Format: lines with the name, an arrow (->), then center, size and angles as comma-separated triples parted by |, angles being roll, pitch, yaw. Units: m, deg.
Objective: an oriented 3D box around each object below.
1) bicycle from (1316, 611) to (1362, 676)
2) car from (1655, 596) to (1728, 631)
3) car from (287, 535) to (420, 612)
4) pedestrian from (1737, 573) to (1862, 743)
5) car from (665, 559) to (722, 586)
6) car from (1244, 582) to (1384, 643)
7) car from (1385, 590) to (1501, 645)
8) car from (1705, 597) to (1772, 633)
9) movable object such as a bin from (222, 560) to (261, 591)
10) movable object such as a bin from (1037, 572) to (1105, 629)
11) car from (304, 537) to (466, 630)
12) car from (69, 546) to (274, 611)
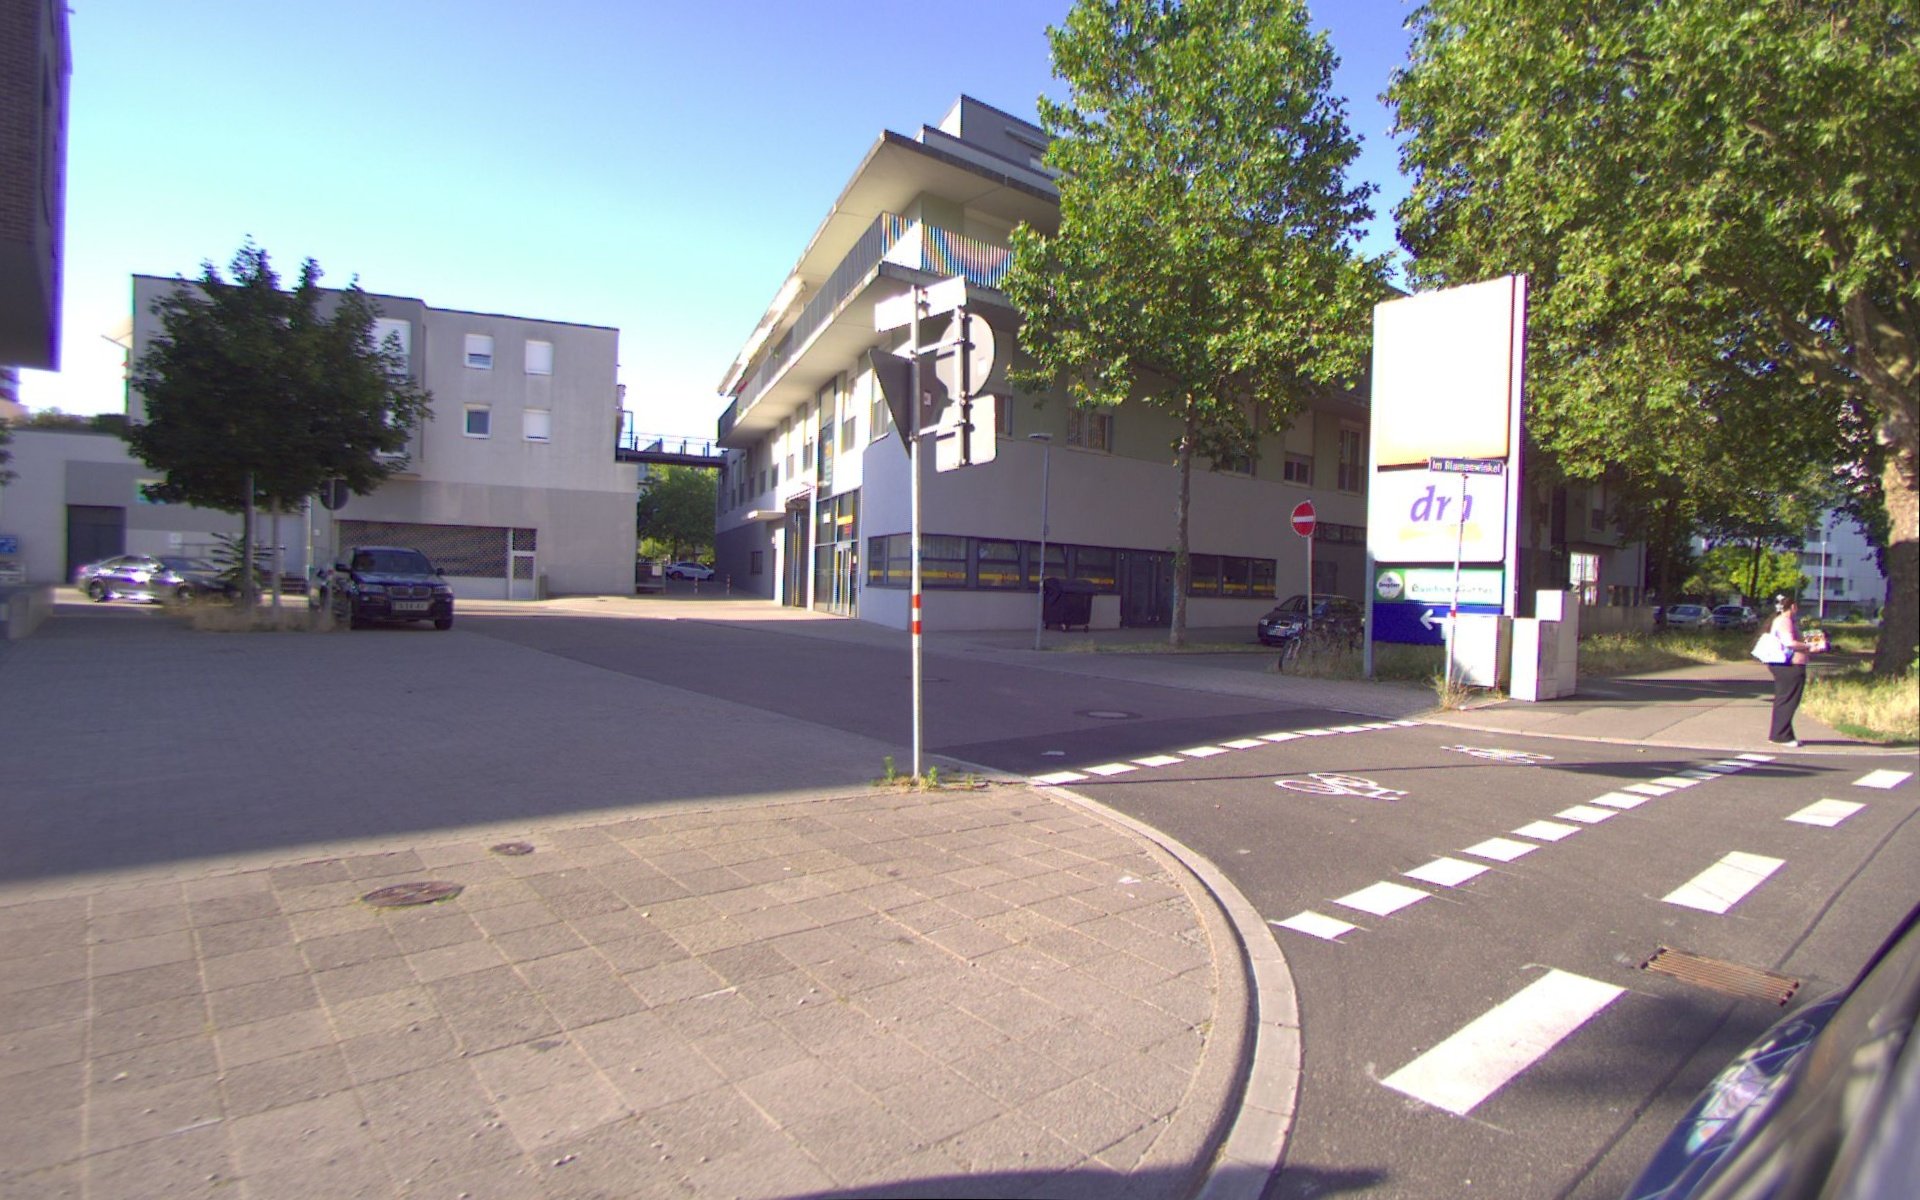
bicycle -> 6.415, 0.711, 17.084 | 0.381, 1.016, 1.468 | 3, 1, 33
car -> 35.983, 0.657, 49.749 | 4.242, 1.562, 1.863 | 1, 1, -40
car -> -15.252, -0.694, 25.353 | 1.995, 1.683, 4.491 | 2, 2, -42
pedestrian -> 9.343, 0.614, 11.297 | 0.760, 1.783, 0.660 | 4, 2, 17
car -> -20.023, -2.068, 75.917 | 3.915, 1.896, 1.783 | 2, 1, -20
car -> 9.740, 0.339, 27.738 | 4.052, 1.487, 1.862 | 1, 1, -42
car -> 15.158, 0.533, 31.697 | 3.692, 1.572, 1.863 | 1, 1, -40
car -> 41.866, 0.809, 54.412 | 4.242, 1.793, 1.909 | 1, 1, -40
movable object such as a bin -> -27.185, -0.937, 38.325 | 0.902, 1.085, 0.990 | 4, 0, -18
movable object such as a bin -> 3.057, 0.007, 27.965 | 1.378, 1.481, 1.199 | 2, 1, -28
car -> -12.115, -0.394, 21.181 | 1.995, 1.683, 4.491 | 2, 2, -42
car -> -21.630, -0.604, 27.807 | 4.801, 1.517, 1.792 | 3, 1, 12
